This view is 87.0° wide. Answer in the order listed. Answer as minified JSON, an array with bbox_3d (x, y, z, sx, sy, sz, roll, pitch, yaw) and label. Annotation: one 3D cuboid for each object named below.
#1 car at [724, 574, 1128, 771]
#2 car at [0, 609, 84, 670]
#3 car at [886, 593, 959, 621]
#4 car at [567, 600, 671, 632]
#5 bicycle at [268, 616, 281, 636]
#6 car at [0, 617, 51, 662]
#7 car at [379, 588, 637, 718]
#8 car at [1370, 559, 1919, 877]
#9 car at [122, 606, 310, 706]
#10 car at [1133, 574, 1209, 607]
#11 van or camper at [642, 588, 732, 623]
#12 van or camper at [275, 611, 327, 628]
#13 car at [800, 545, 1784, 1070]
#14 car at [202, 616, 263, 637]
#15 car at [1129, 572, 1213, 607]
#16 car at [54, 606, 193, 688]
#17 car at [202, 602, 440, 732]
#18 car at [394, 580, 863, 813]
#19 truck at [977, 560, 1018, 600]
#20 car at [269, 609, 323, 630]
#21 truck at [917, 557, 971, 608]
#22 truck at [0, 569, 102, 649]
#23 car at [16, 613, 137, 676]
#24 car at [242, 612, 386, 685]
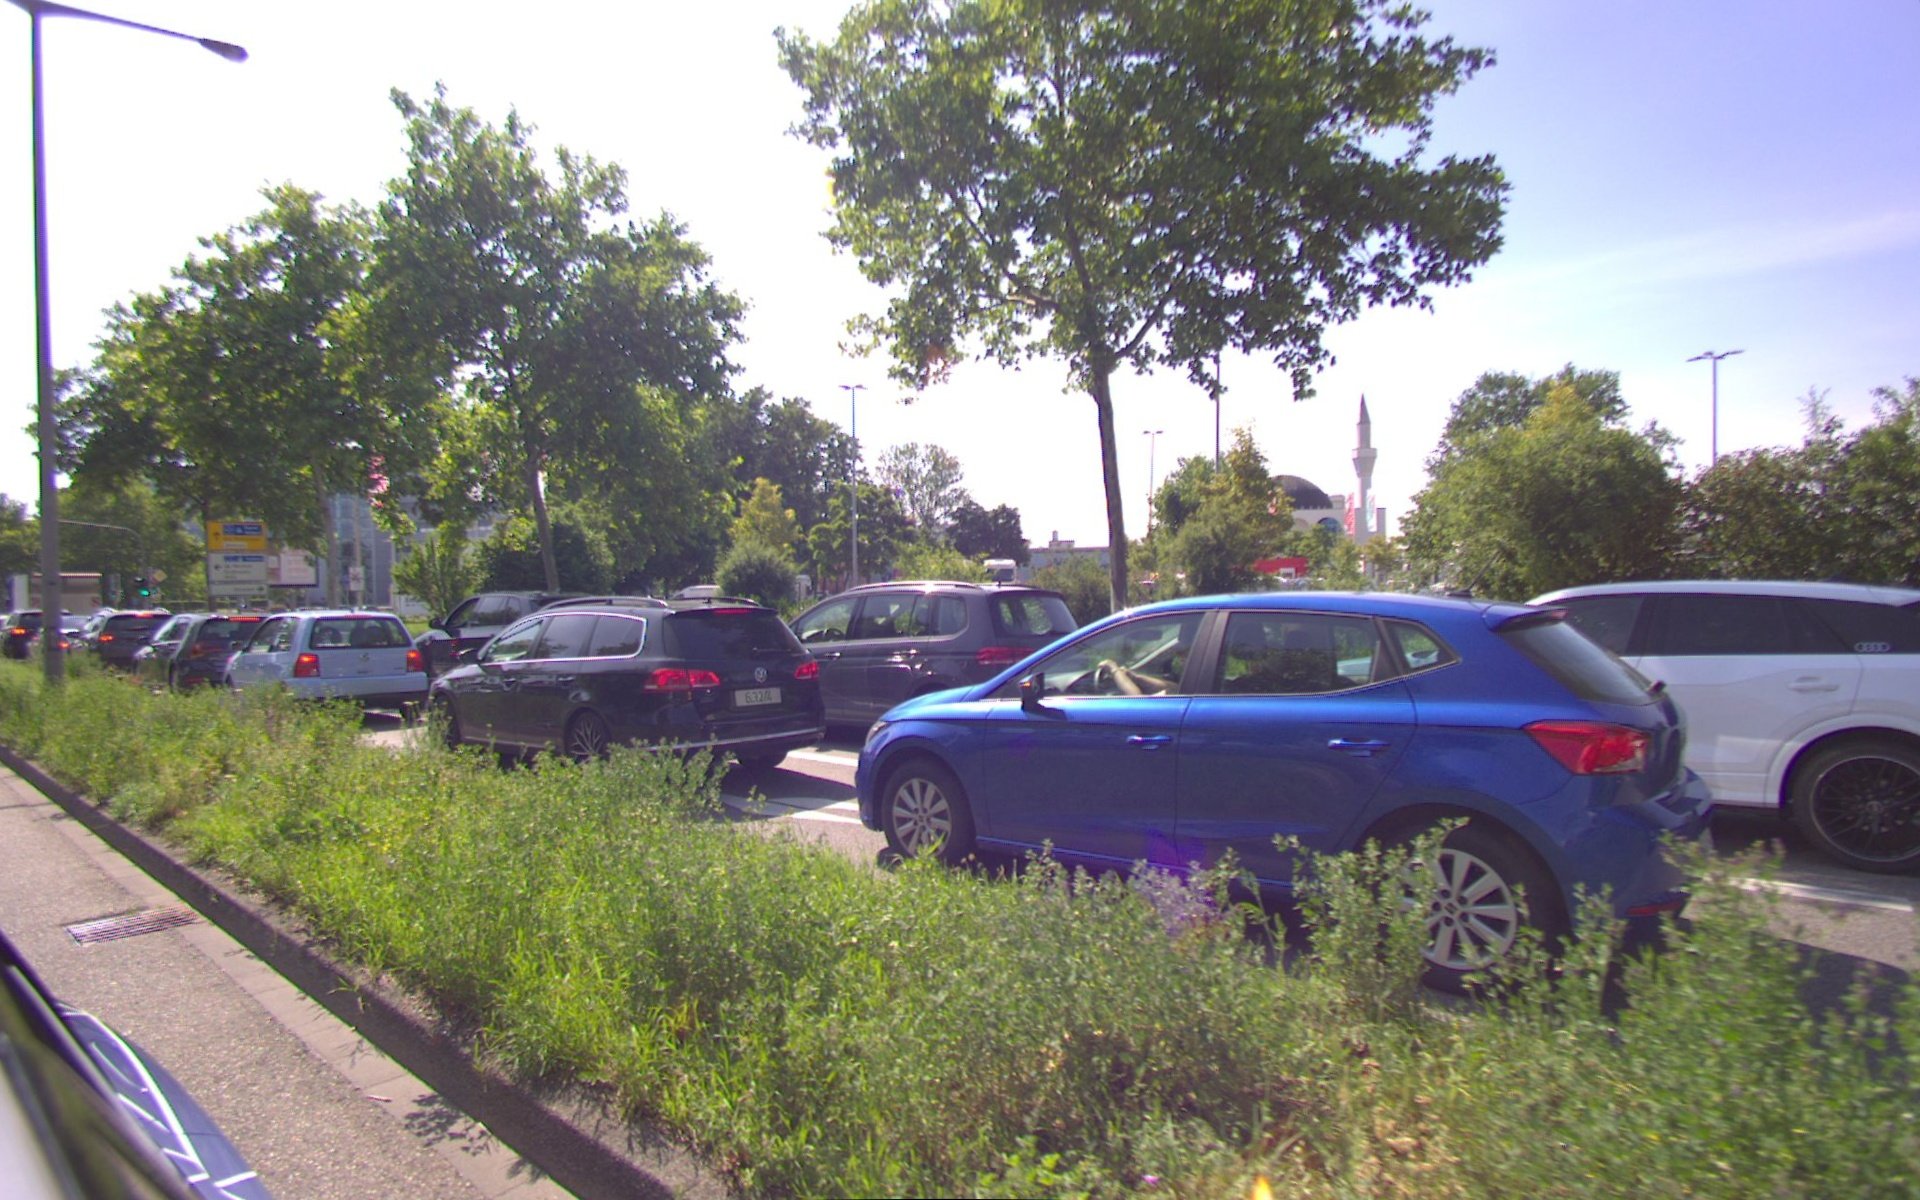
[{"bbox_3d":[-0.501,0.644,10.517,4.176,1.659,1.671,-2,-1,41],"label":"car"},{"bbox_3d":[-28.062,1.119,30.573,4.692,1.659,1.801,0,0,41],"label":"car"},{"bbox_3d":[-2.254,0.406,61.437,4.226,1.584,1.819,-2,0,5],"label":"car"},{"bbox_3d":[-16.836,0.764,50.147,2.195,1.424,4.525,-1,1,34],"label":"car"},{"bbox_3d":[-37.858,1.421,55.876,0.586,1.045,1.900,-2,1,-35],"label":"bicycle"},{"bbox_3d":[-32.968,1.363,35.218,3.727,1.488,1.576,-2,-1,41],"label":"car"},{"bbox_3d":[-7.223,0.720,15.934,4.764,1.750,1.803,0,0,40],"label":"car"},{"bbox_3d":[4.717,0.582,5.959,3.937,1.541,1.671,-2,-1,41],"label":"car"},{"bbox_3d":[-12.598,0.882,17.045,4.216,1.485,1.671,-2,-2,41],"label":"car"},{"bbox_3d":[17.689,-0.769,85.100,6.056,2.548,2.382,-2,0,9],"label":"car"},{"bbox_3d":[-18.446,0.349,68.516,5.453,2.226,2.191,-2,0,8],"label":"van or camper"},{"bbox_3d":[-72.560,2.182,111.458,4.453,1.704,1.998,-2,0,4],"label":"van or camper"},{"bbox_3d":[1.290,0.630,4.940,4.208,1.500,1.766,-1,-1,40],"label":"car"},{"bbox_3d":[-59.053,2.132,82.234,1.824,1.460,3.994,-2,0,5],"label":"car"},{"bbox_3d":[16.952,-0.827,81.612,6.365,2.548,2.382,-2,0,9],"label":"car"},{"bbox_3d":[-18.100,0.965,21.833,4.238,1.598,1.671,-2,-1,41],"label":"car"},{"bbox_3d":[-8.616,0.802,13.523,3.812,1.483,1.671,-2,-1,41],"label":"car"},{"bbox_3d":[-3.159,0.687,8.970,4.825,1.541,1.739,-2,-1,41],"label":"car"},{"bbox_3d":[3.127,-1.538,81.009,2.889,2.913,9.602,-2,0,4],"label":"truck"},{"bbox_3d":[-58.862,1.691,89.816,1.974,1.712,3.996,-2,0,3],"label":"car"},{"bbox_3d":[-1.009,-1.212,72.151,3.119,3.336,8.916,-2,0,3],"label":"truck"},{"bbox_3d":[-42.856,0.482,47.638,6.687,3.498,2.775,-2,-2,41],"label":"truck"},{"bbox_3d":[-22.861,1.109,26.128,4.521,1.479,1.778,-2,-1,42],"label":"car"},{"bbox_3d":[-14.963,1.073,23.376,4.081,1.541,1.672,-1,-2,40],"label":"car"}]
